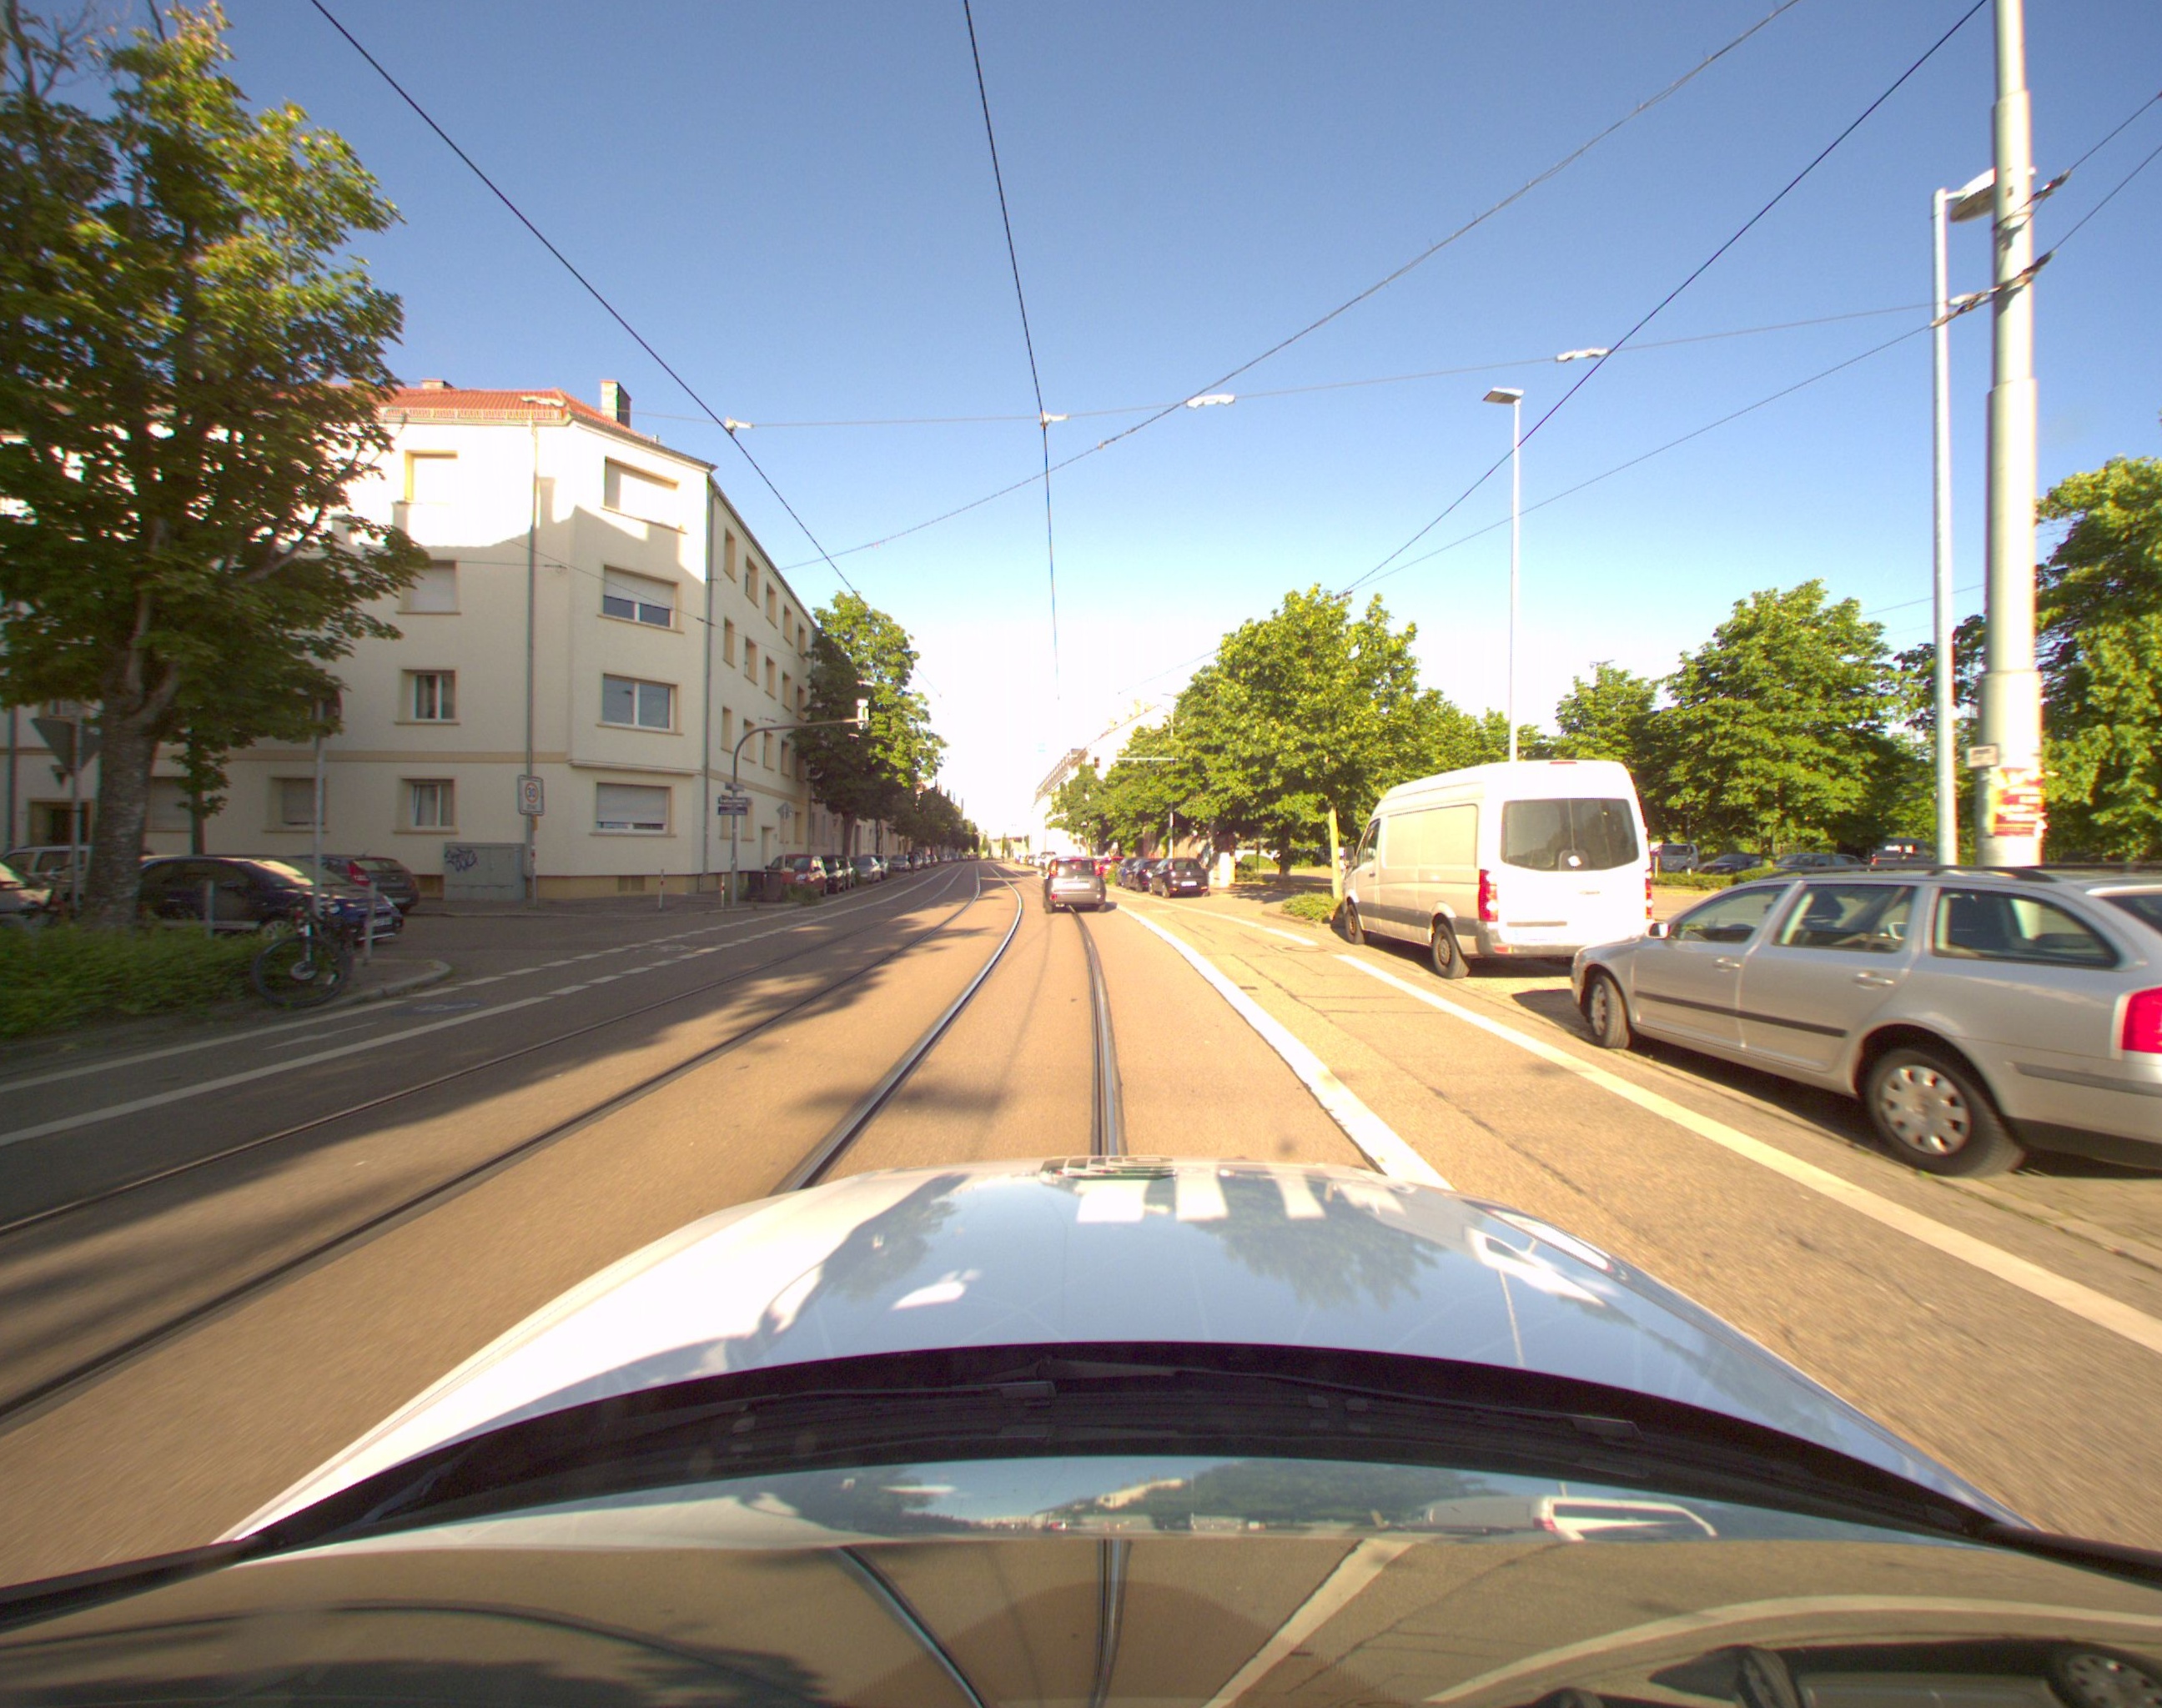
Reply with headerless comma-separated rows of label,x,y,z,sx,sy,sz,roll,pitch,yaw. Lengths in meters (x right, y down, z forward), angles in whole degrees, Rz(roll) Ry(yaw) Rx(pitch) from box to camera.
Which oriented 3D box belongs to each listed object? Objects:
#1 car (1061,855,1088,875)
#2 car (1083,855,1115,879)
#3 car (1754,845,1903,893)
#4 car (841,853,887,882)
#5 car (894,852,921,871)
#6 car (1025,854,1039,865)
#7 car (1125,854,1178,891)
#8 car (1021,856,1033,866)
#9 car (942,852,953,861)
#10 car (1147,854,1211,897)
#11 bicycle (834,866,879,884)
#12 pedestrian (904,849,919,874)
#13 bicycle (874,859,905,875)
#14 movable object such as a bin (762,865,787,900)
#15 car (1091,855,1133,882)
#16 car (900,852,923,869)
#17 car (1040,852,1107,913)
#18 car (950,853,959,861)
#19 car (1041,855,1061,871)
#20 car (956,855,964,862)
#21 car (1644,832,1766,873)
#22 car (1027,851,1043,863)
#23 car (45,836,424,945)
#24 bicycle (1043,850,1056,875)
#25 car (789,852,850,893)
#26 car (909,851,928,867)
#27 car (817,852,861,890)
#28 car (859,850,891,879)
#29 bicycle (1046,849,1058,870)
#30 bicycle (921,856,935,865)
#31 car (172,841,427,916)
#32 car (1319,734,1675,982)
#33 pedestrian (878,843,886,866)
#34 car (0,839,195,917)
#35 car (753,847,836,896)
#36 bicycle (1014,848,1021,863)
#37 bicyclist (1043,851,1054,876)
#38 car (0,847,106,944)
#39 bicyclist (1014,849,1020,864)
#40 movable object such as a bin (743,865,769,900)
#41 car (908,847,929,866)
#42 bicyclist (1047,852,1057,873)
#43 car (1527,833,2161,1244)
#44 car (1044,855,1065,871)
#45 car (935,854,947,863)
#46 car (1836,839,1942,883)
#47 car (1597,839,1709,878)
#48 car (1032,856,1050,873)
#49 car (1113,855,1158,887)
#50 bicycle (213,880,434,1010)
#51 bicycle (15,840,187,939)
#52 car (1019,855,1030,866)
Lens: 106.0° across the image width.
car,-0.520,0.840,63.391,1.634,1.508,3.388,-2,0,-7
car,1.147,0.828,53.086,1.686,1.530,3.994,-1,0,-4
car,30.925,0.609,33.766,4.677,1.816,1.958,2,-1,-6
car,-11.908,0.709,44.886,1.686,1.475,4.650,2,0,-6
car,-14.499,0.639,68.283,1.807,1.508,4.180,2,0,-8
car,-6.671,0.761,110.548,1.582,1.405,3.367,-3,0,-8
car,3.056,0.794,36.163,1.686,1.530,4.348,-1,0,-4
car,-8.111,1.067,122.665,1.582,1.405,3.367,2,0,-8
car,-25.417,0.489,155.071,1.705,1.497,3.713,2,0,-7
car,3.695,0.785,31.319,1.686,1.530,3.994,-1,0,-4
bicycle,-11.391,1.076,41.427,2.126,0.824,0.476,2,-1,-9
pedestrian,-12.025,0.528,57.711,0.854,1.776,0.729,0,0,-28
bicycle,-12.838,0.882,54.631,1.922,1.046,0.475,2,-1,-7
movable object such as a bin,-8.911,0.817,23.704,0.484,0.987,0.658,2,-1,-5
car,1.774,0.816,47.791,1.689,1.530,3.986,-1,0,-10
car,-16.219,0.630,78.111,1.807,1.508,4.668,2,0,-8
car,-0.293,0.733,22.956,1.647,1.541,4.229,-1,0,-4
car,-26.268,0.578,168.947,1.705,1.497,3.713,2,0,-7
car,-3.171,0.957,85.655,1.654,1.571,3.865,2,0,-8
car,-27.427,0.967,184.613,1.705,1.497,3.713,2,0,-7
car,30.497,-0.052,39.860,4.677,1.816,1.958,2,-1,-6
car,-5.770,0.390,101.779,1.654,1.500,3.121,2,0,-8
car,-12.941,0.535,12.664,3.875,1.458,1.767,2,0,-2
bicycle,-2.325,0.633,59.095,0.675,1.747,2.151,2,-1,-8
car,-10.536,0.713,33.011,1.786,1.530,3.845,2,0,-10
car,-18.120,0.537,91.049,1.807,1.619,4.053,2,0,-8
car,-11.034,0.735,37.359,1.592,1.614,3.716,2,0,-12
car,-12.773,0.635,50.645,1.652,1.668,4.279,2,0,-12
bicycle,-2.423,0.461,67.999,0.675,1.747,2.151,2,-1,-8
bicycle,-19.510,0.817,103.610,1.729,1.196,0.371,2,-1,-12
car,-17.915,0.550,18.831,3.974,1.530,1.907,2,0,0
car,5.441,0.060,11.965,2.172,2.666,6.092,-1,0,1
pedestrian,-16.526,0.048,67.721,0.536,1.826,0.541,2,-1,-8
car,-23.930,0.523,19.158,3.974,1.653,1.907,2,-1,0
car,-9.963,0.585,28.606,1.685,1.530,3.994,2,0,-4
bicycle,-8.699,0.191,111.186,0.741,2.014,2.804,2,0,-8
bicyclist,-2.359,0.677,59.153,0.699,1.759,0.755,2,-1,-9
car,-17.910,0.607,12.640,3.498,1.458,1.577,0,0,-2
bicyclist,-8.731,0.312,111.101,0.715,2.014,0.829,2,-1,-9
movable object such as a bin,-9.427,0.817,23.652,0.484,0.987,0.658,2,-1,-5
car,-16.938,0.275,85.141,1.807,1.943,4.322,2,0,-8
bicyclist,-2.454,0.695,68.058,0.699,1.759,0.755,2,-1,-9
car,5.035,0.701,5.273,1.903,1.530,4.602,0,0,2
car,-2.641,0.896,80.951,1.654,1.571,3.489,2,0,-8
car,-24.154,0.770,140.473,1.705,1.497,3.713,2,0,-7
car,43.769,0.366,44.155,4.187,2.301,2.064,0,0,-10
car,29.962,0.242,42.745,4.677,1.816,1.958,2,-1,-6
car,-4.786,1.235,96.313,1.654,1.944,4.651,2,0,-8
car,2.678,0.810,40.877,1.686,1.530,3.994,-1,0,-4
bicycle,-7.836,0.878,8.580,0.511,1.134,2.028,2,0,-4
bicycle,-12.816,0.473,10.679,1.499,1.229,0.397,2,-4,-6
car,-8.979,0.999,129.377,1.582,1.599,3.367,2,0,-8
